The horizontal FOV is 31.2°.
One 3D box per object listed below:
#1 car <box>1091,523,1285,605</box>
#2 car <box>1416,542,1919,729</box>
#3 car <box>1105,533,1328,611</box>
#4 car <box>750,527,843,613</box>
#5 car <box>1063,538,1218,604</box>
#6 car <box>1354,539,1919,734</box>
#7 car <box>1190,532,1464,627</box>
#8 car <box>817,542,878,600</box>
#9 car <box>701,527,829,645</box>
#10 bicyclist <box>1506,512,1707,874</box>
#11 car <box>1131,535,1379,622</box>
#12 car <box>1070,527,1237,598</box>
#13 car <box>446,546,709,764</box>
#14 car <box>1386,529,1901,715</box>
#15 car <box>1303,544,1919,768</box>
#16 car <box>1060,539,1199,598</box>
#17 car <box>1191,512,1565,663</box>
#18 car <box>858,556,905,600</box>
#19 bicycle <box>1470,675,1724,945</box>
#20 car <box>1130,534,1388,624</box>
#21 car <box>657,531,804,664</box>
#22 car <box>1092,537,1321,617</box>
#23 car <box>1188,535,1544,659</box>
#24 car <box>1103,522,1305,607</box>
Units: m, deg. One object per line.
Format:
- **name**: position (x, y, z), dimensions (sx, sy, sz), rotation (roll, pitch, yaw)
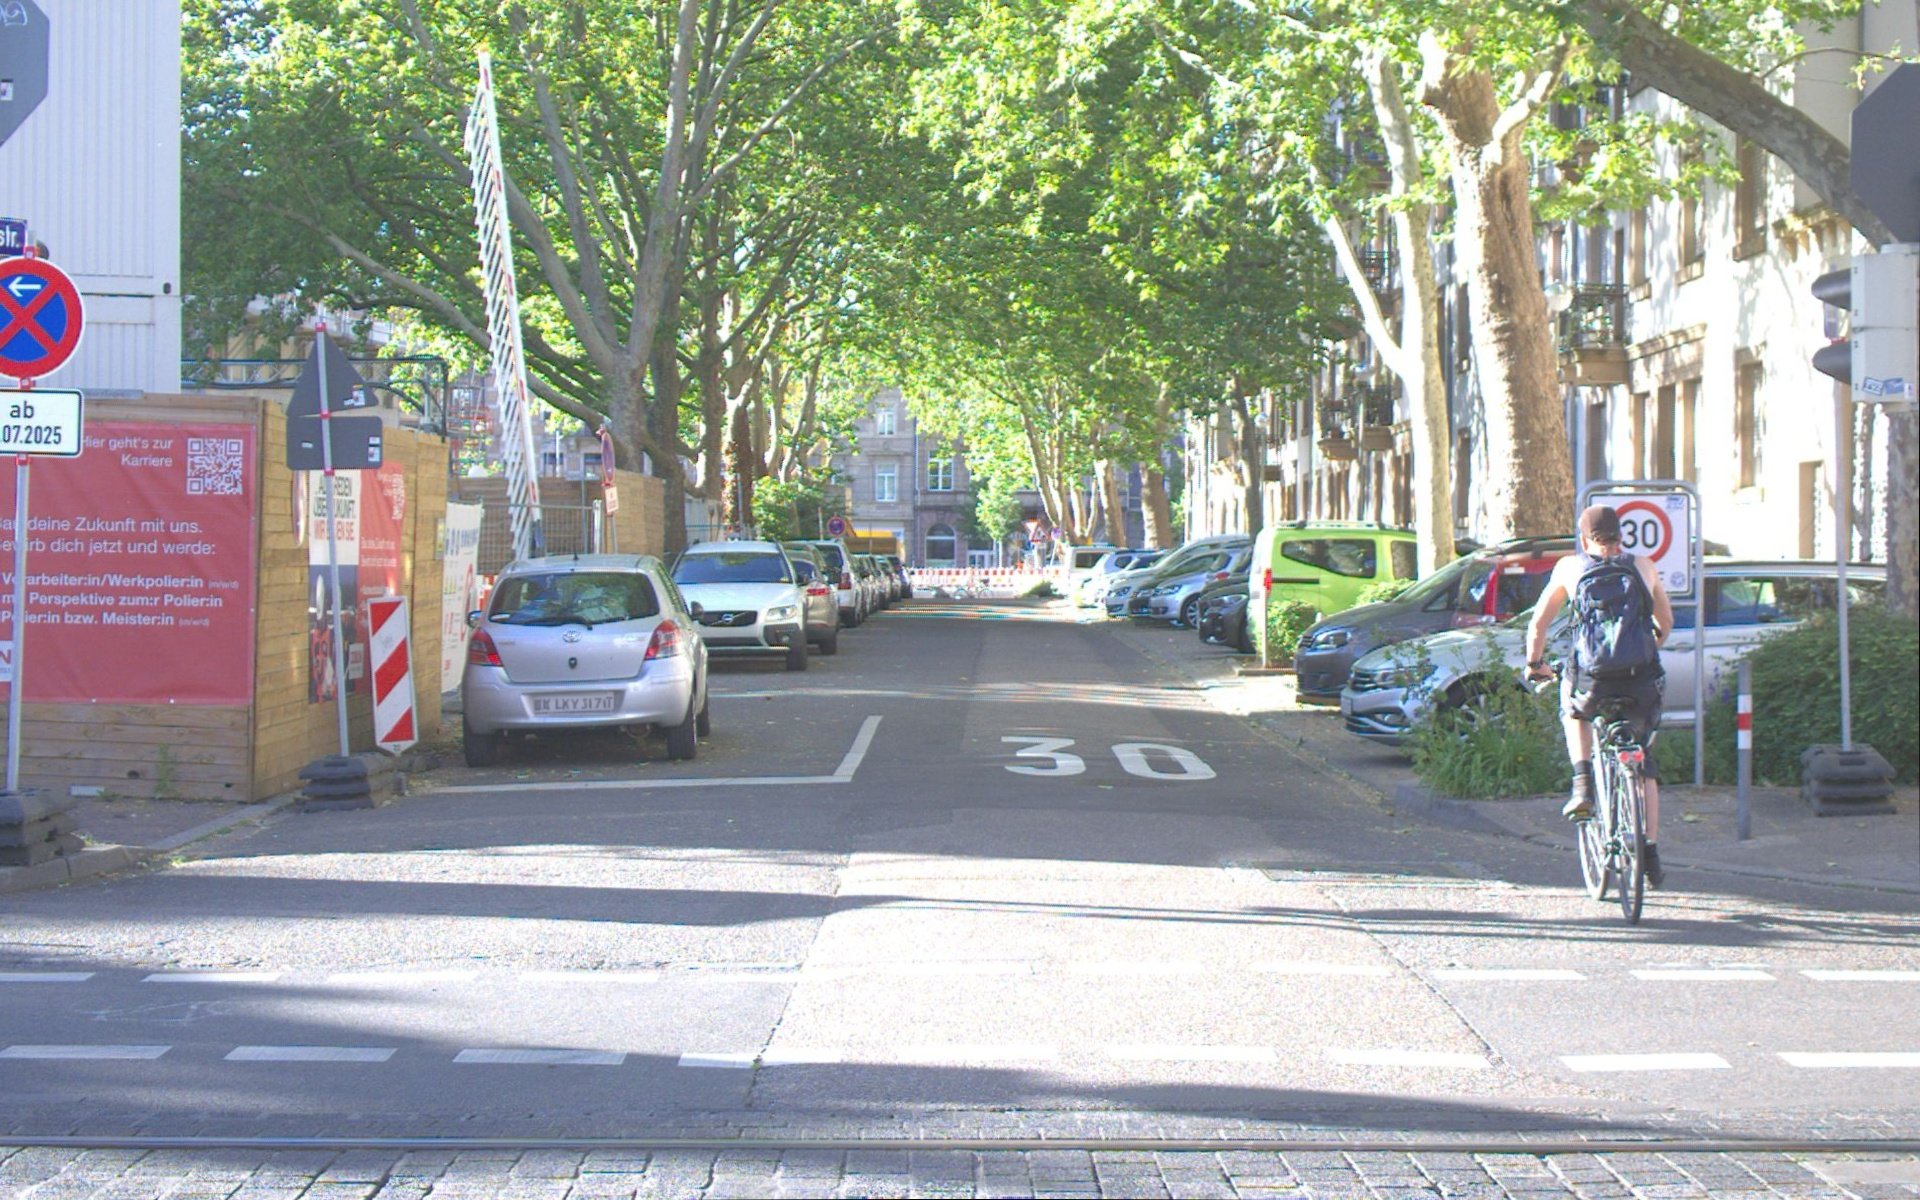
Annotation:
- **car**: position (5.381, -0.861, 81.565), dimensions (4.461, 1.891, 1.728), rotation (0, 1, -1)
- **car**: position (6.371, 0.289, 30.208), dimensions (4.461, 1.565, 1.728), rotation (0, 1, -1)
- **car**: position (5.308, -0.597, 71.479), dimensions (4.461, 1.565, 1.728), rotation (0, 1, -1)
- **car**: position (-3.052, -0.584, 64.754), dimensions (1.665, 1.557, 4.617), rotation (0, 1, -2)
- **car**: position (5.326, -0.862, 101.817), dimensions (4.461, 1.891, 1.728), rotation (0, 1, -1)
- **car**: position (5.536, 0.276, 27.844), dimensions (4.461, 1.495, 1.728), rotation (0, 1, -1)
- **car**: position (6.235, -0.354, 58.709), dimensions (4.461, 1.565, 1.728), rotation (0, 1, -1)
- **car**: position (-3.136, -0.827, 95.865), dimensions (1.665, 1.557, 4.219), rotation (0, 1, -2)
- **car**: position (-2.681, -0.226, 48.072), dimensions (1.665, 1.557, 4.519), rotation (0, 1, -2)
- **bicyclist**: position (2.787, 0.389, 14.882), dimensions (0.676, 1.508, 0.669), rotation (2, 1, -1)
- **car**: position (5.487, -0.410, 64.392), dimensions (4.461, 1.565, 1.728), rotation (0, 1, -1)
- **car**: position (5.293, -1.028, 94.384), dimensions (4.461, 1.891, 1.728), rotation (0, 1, -1)
- **car**: position (-2.858, 0.358, 26.403), dimensions (1.643, 1.489, 4.000), rotation (-2, 1, -2)
- **car**: position (6.360, 0.191, 32.295), dimensions (4.461, 1.665, 1.728), rotation (0, 1, -1)
- **car**: position (4.867, 0.387, 25.392), dimensions (4.461, 1.565, 1.728), rotation (0, 1, -1)
- **car**: position (5.604, -1.045, 113.991), dimensions (4.461, 1.891, 1.728), rotation (0, 1, -1)
- **car**: position (5.228, -0.164, 43.358), dimensions (4.461, 1.830, 1.728), rotation (0, 1, -1)
- **car**: position (-2.886, -0.820, 125.539), dimensions (1.665, 1.557, 4.219), rotation (0, 1, -2)
- **bicycle**: position (2.760, 0.883, 15.074), dimensions (0.689, 1.013, 1.907), rotation (2, 1, -1)
- **car**: position (5.361, -0.389, 61.918), dimensions (4.461, 1.565, 1.728), rotation (0, 1, -1)
- **car**: position (-2.797, -0.061, 42.539), dimensions (1.665, 1.557, 4.000), rotation (0, 1, -2)
- **car**: position (4.930, -0.474, 69.163), dimensions (4.461, 1.565, 1.728), rotation (0, 1, -1)
- **car**: position (5.316, -0.051, 45.376), dimensions (4.461, 1.565, 1.728), rotation (0, 1, -1)
- **car**: position (5.565, -0.810, 78.796), dimensions (4.461, 1.891, 1.728), rotation (0, 1, -1)
